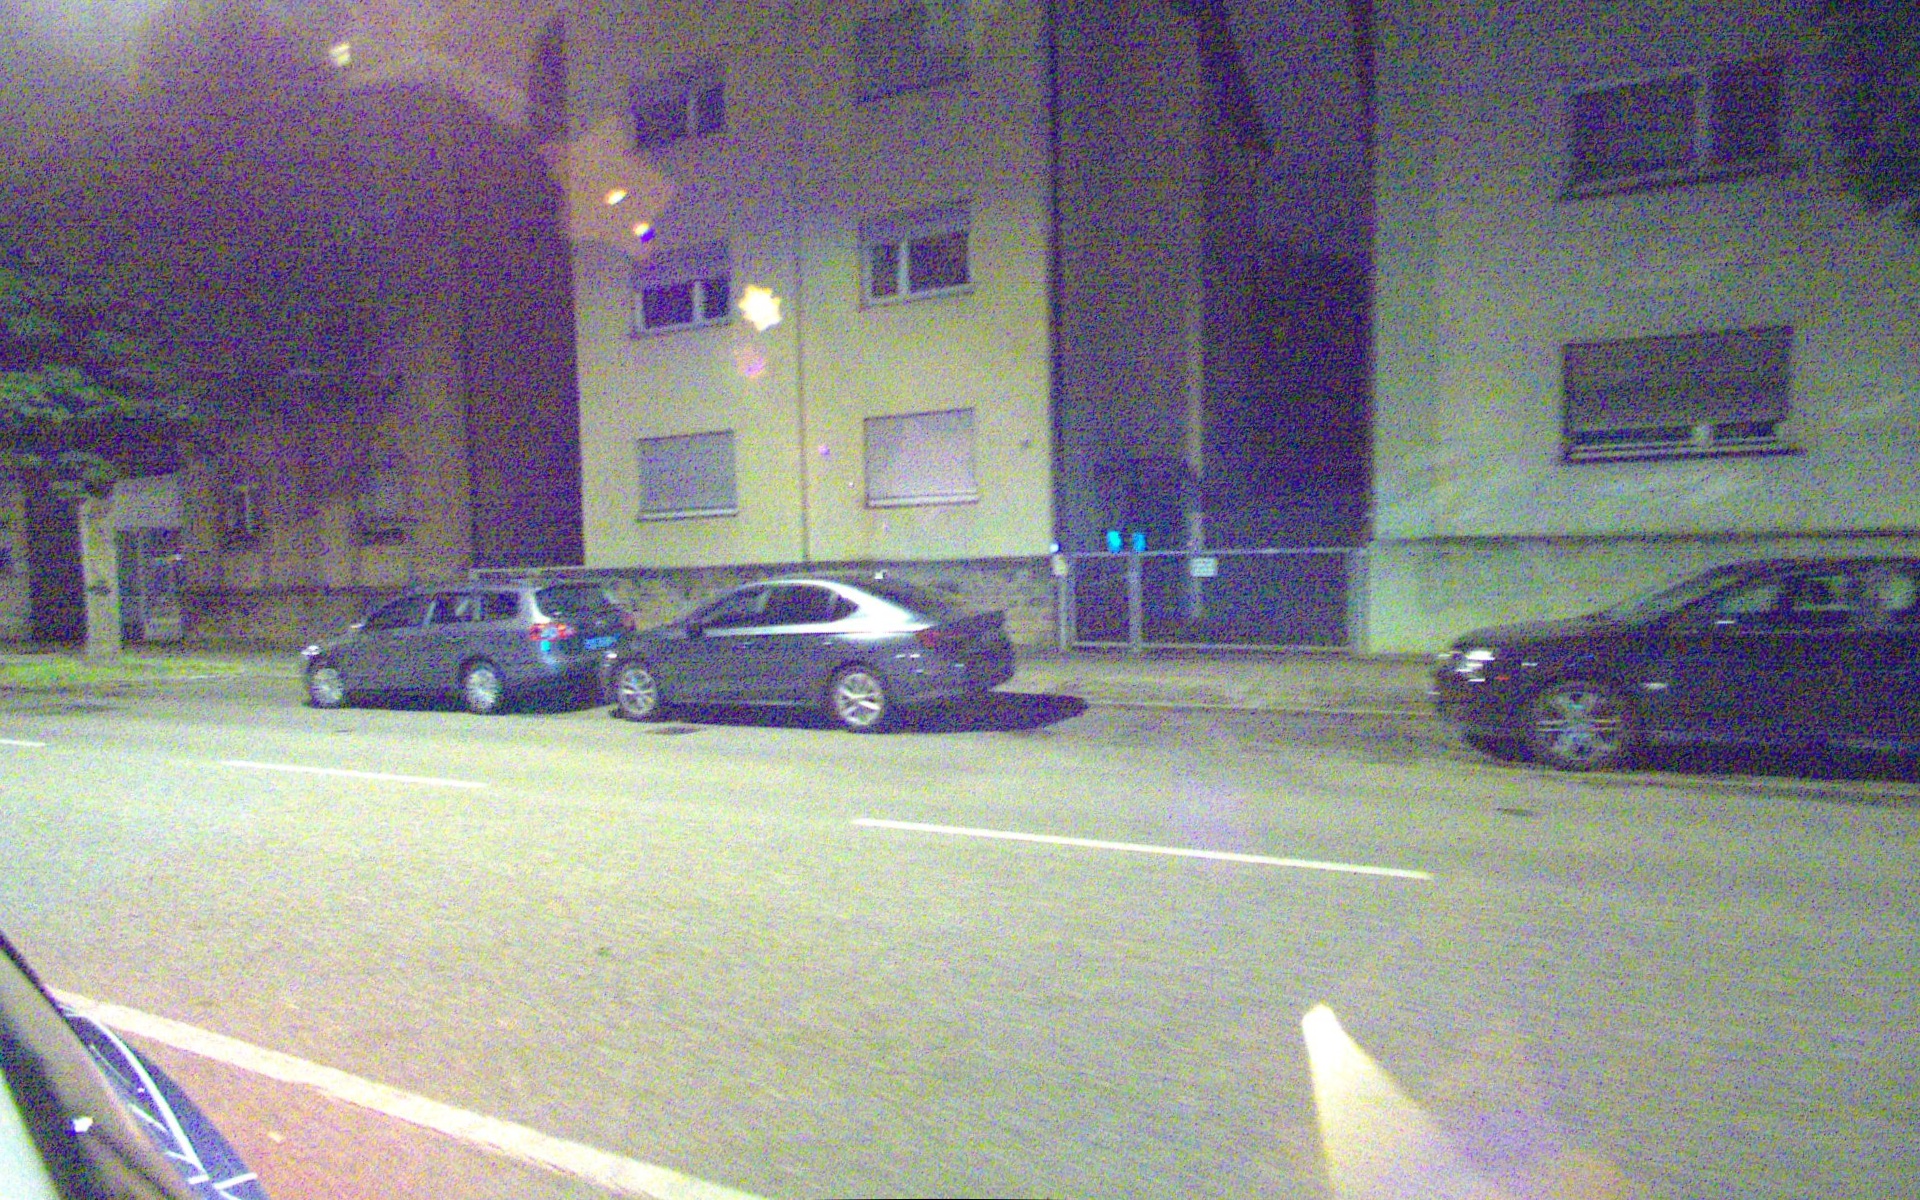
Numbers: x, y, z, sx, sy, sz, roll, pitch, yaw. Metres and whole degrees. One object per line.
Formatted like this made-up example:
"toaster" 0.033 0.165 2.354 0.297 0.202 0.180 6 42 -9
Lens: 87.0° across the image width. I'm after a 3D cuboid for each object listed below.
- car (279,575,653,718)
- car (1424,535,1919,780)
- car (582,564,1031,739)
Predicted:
"car" -6.051 0.506 12.365 4.322 1.444 1.631 -1 4 23
"car" 5.721 0.314 7.102 4.375 1.444 1.853 -1 3 23
"car" -1.588 0.449 10.272 4.321 1.444 1.544 -1 4 24
